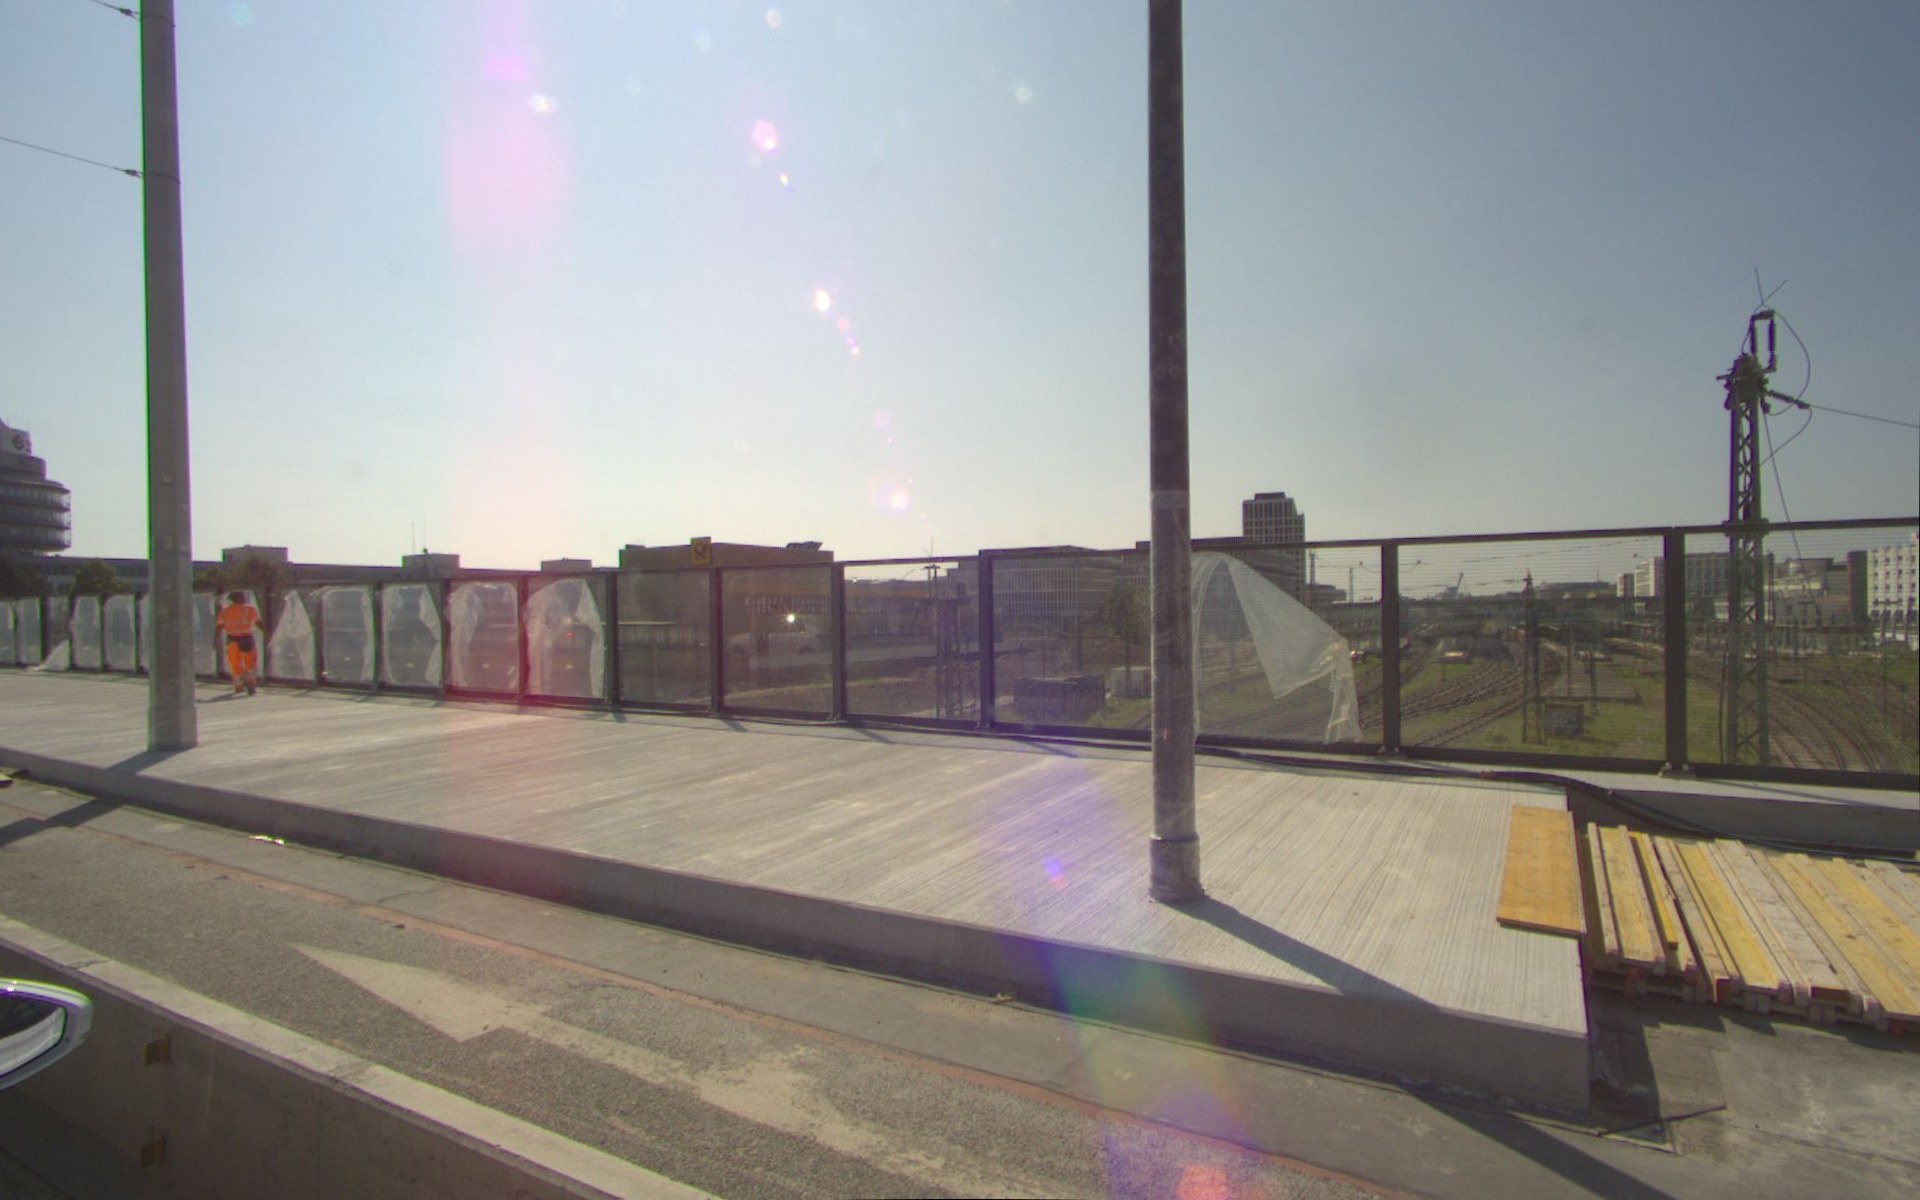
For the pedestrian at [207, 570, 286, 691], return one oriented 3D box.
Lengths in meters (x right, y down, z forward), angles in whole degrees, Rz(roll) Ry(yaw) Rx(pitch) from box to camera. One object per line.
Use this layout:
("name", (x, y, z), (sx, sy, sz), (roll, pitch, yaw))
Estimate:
("pedestrian", (-11.987, 0.503, 16.822), (0.788, 1.961, 0.780), (-1, 1, 32))
